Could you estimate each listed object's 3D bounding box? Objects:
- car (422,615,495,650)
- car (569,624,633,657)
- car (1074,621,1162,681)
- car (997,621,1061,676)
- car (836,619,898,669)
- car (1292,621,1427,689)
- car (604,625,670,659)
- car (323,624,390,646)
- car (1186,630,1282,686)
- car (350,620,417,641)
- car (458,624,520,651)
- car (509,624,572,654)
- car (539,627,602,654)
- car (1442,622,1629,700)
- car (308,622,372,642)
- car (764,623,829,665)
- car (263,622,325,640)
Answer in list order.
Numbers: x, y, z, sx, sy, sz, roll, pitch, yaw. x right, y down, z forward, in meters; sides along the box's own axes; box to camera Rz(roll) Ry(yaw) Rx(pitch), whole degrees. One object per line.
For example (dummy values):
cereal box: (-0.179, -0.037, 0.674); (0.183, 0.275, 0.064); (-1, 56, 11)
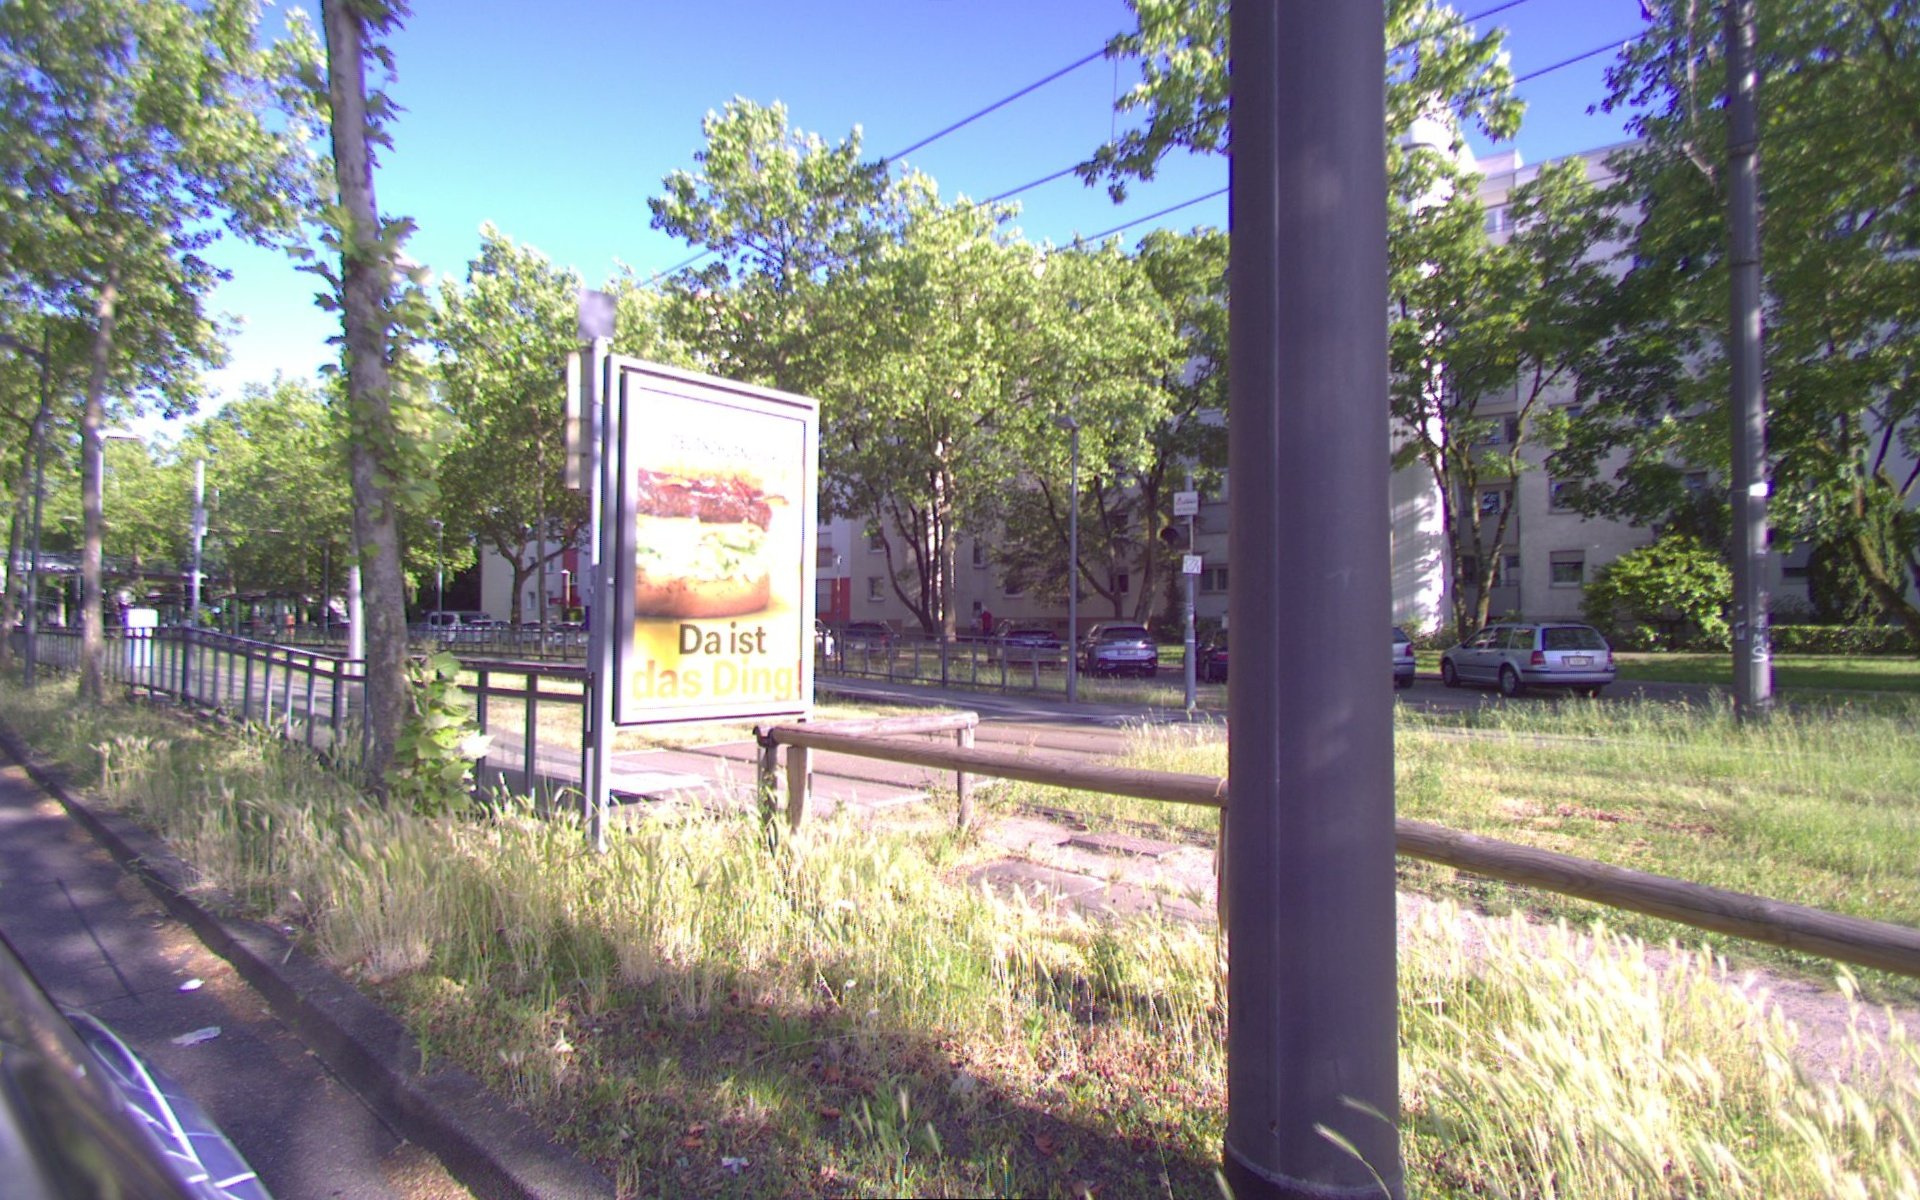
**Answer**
car: (-28.325, 1.824, 57.322); (1.898, 1.898, 4.365); (0, -1, 1)
car: (-16.680, 1.841, 47.131); (1.627, 1.460, 3.680); (0, -1, 1)
car: (4.210, 1.345, 27.489); (1.894, 1.507, 3.680); (0, -1, 2)
car: (1.937, 1.366, 29.442); (1.664, 1.482, 3.680); (0, -1, 1)
car: (-3.104, 1.457, 34.464); (1.664, 1.579, 3.679); (0, -1, 2)
car: (9.157, 1.218, 23.524); (1.679, 1.444, 3.681); (0, -1, 1)
car: (-14.080, 1.818, 44.276); (1.627, 1.403, 3.679); (0, -1, 2)
car: (-40.742, 2.358, 68.414); (1.898, 1.386, 4.365); (0, -1, 1)
car: (6.733, 1.399, 25.203); (1.602, 1.256, 3.677); (0, -1, 4)
car: (-37.888, 1.985, 66.615); (1.898, 1.386, 4.365); (0, -1, 1)
car: (-25.796, 2.033, 55.514); (1.627, 1.407, 3.680); (0, -1, 1)
car: (-21.121, 1.957, 51.129); (1.627, 1.460, 3.680); (0, -1, 1)
car: (-19.044, 1.979, 49.661); (1.627, 1.251, 3.680); (0, -1, 1)
car: (11.552, 1.175, 20.625); (1.707, 1.444, 3.681); (0, -1, 1)
car: (-44.644, 2.280, 72.978); (1.898, 1.386, 4.365); (0, -1, 1)
car: (-5.906, 1.570, 36.914); (1.664, 1.444, 3.679); (0, -1, 2)
car: (-52.145, 2.402, 79.358); (1.898, 1.386, 4.365); (0, -1, 1)
